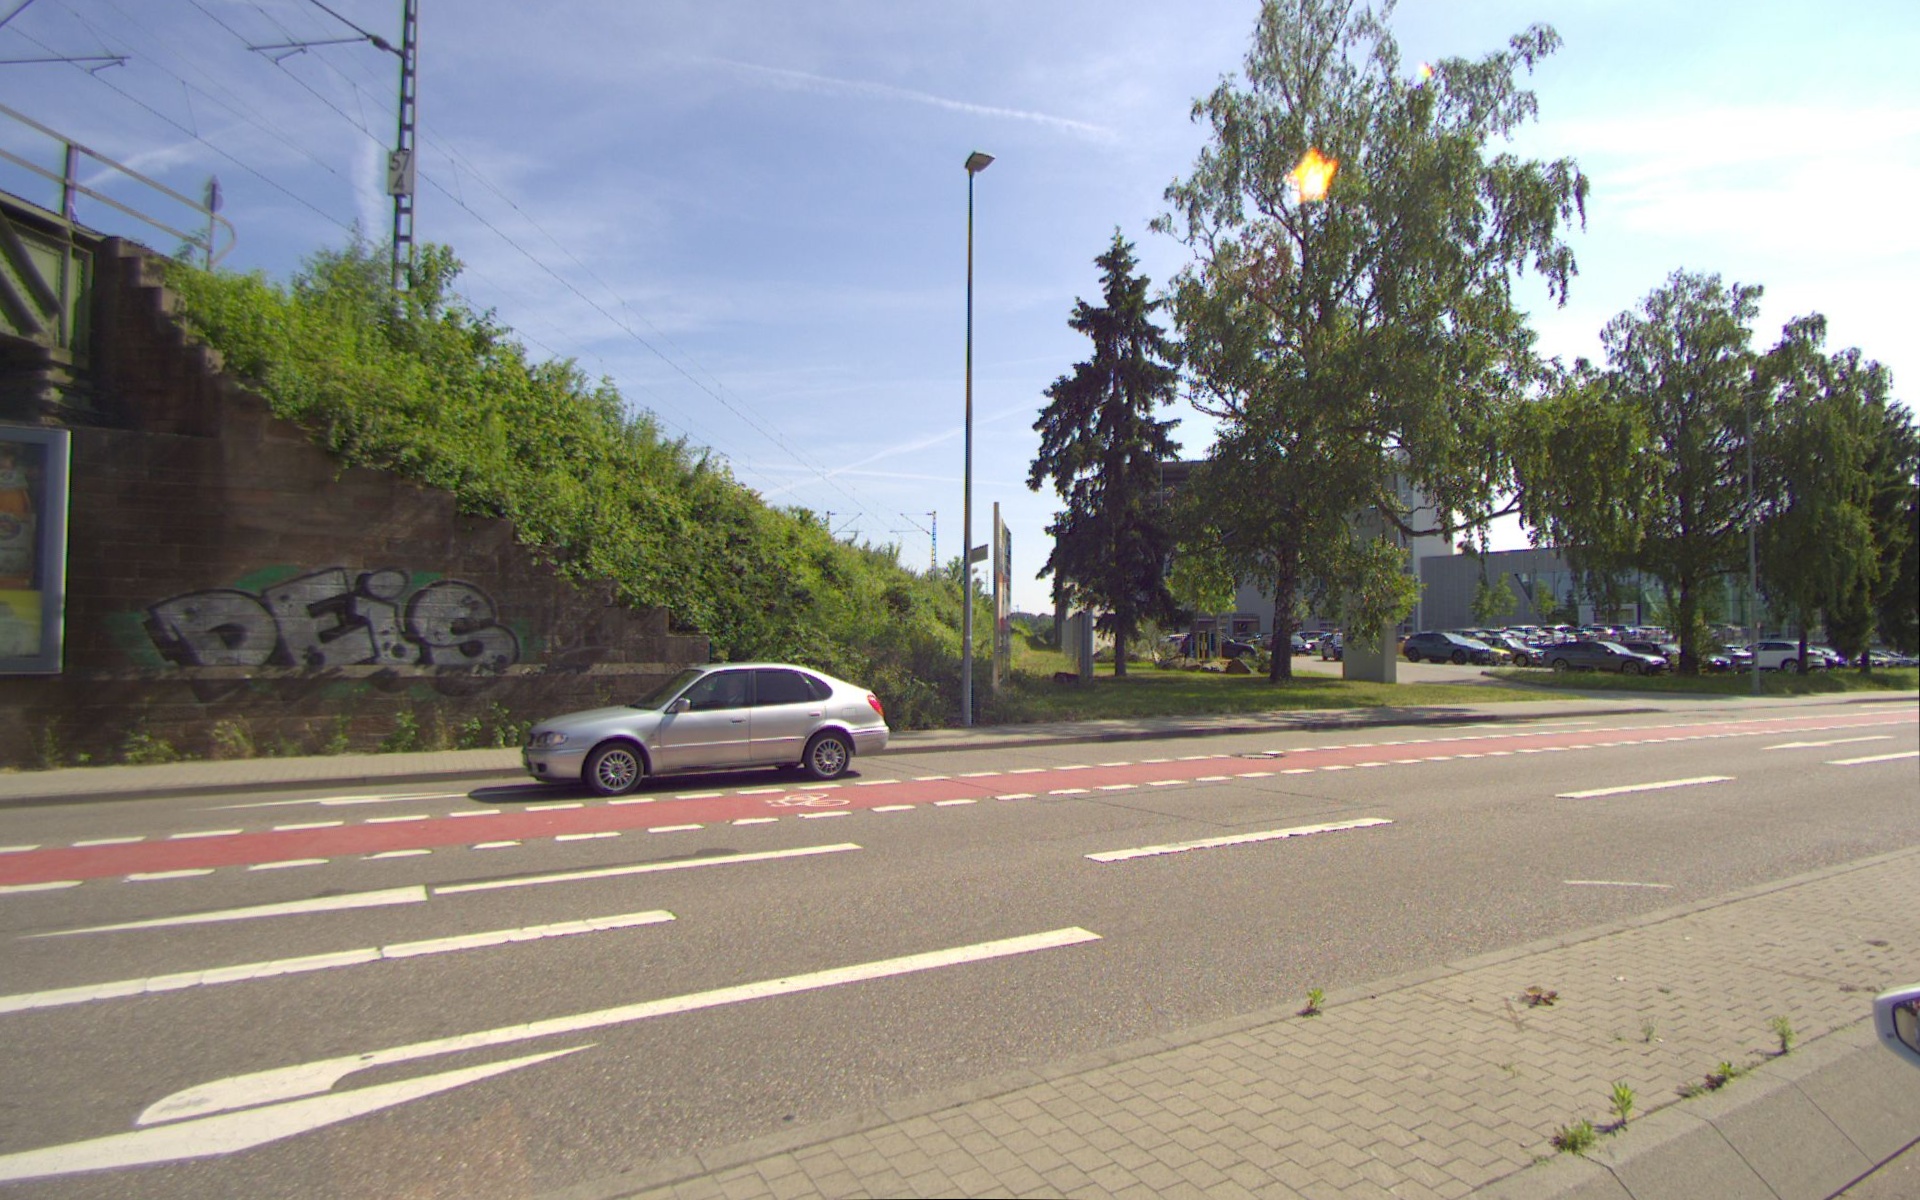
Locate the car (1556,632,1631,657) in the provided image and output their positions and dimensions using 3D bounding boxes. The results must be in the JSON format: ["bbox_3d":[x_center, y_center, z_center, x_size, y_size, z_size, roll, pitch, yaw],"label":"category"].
[{"bbox_3d":[45.435,3.200,72.102,1.646,1.727,4.246,2,-3,-32],"label":"car"}]

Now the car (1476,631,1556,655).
[{"bbox_3d":[38.009,2.930,68.808,1.870,1.437,4.475,2,-1,-32],"label":"car"}]

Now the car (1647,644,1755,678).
[{"bbox_3d":[34.255,2.783,46.512,1.795,1.389,3.663,2,-1,-30],"label":"car"}]

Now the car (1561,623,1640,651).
[{"bbox_3d":[47.075,2.738,73.908,1.958,1.988,4.476,2,-3,-32],"label":"car"}]

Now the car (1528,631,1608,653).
[{"bbox_3d":[42.889,2.952,70.984,1.958,1.504,4.476,2,-3,-32],"label":"car"}]

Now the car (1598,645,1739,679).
[{"bbox_3d":[31.886,2.743,45.362,1.977,1.285,4.828,2,-1,-30],"label":"car"}]

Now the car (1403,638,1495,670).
[{"bbox_3d":[26.725,2.909,55.022,1.785,1.585,4.220,2,-1,-31],"label":"car"}]

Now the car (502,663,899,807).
[{"bbox_3d":[-2.978,1.463,11.841,4.268,1.405,1.628,2,-4,-31],"label":"car"}]

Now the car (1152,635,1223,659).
[{"bbox_3d":[16.121,3.314,71.244,4.666,1.567,1.815,1,-1,2],"label":"car"}]

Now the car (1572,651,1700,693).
[{"bbox_3d":[29.281,3.080,43.648,1.977,1.567,4.194,2,-1,-30],"label":"car"}]

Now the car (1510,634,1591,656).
[{"bbox_3d":[40.827,3.098,69.525,1.958,1.504,4.476,2,-3,-32],"label":"car"}]

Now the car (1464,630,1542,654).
[{"bbox_3d":[36.255,2.791,67.134,1.979,1.496,4.178,2,-1,-33],"label":"car"}]

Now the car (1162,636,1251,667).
[{"bbox_3d":[14.202,2.980,58.000,4.666,1.639,2.001,1,-1,2],"label":"car"}]

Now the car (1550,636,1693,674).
[{"bbox_3d":[27.741,2.269,42.308,1.977,1.408,4.665,2,-1,-30],"label":"car"}]

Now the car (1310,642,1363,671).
[{"bbox_3d":[22.388,3.341,59.833,1.628,1.567,4.037,1,-1,0],"label":"car"}]

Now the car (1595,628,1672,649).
[{"bbox_3d":[51.184,2.951,76.449,1.958,1.504,4.476,2,-3,-32],"label":"car"}]

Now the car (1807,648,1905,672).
[{"bbox_3d":[51.948,3.507,58.308,1.820,1.357,3.868,2,-4,-32],"label":"car"}]

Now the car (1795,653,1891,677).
[{"bbox_3d":[50.033,3.686,56.979,1.645,1.302,3.723,2,-4,-32],"label":"car"}]

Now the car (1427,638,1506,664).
[{"bbox_3d":[32.862,3.295,65.306,1.979,1.496,4.178,2,-1,-33],"label":"car"}]

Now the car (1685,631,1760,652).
[{"bbox_3d":[62.147,3.370,81.934,1.963,1.515,4.498,2,-1,-30],"label":"car"}]

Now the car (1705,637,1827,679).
[{"bbox_3d":[40.724,2.908,50.847,1.976,1.900,4.444,2,-1,-29],"label":"car"}]

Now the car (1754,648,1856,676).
[{"bbox_3d":[44.423,3.236,52.872,1.725,1.302,3.771,2,-1,-32],"label":"car"}]

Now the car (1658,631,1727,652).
[{"bbox_3d":[57.626,3.226,79.067,2.028,1.515,3.968,2,-1,-30],"label":"car"}]

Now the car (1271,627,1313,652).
[{"bbox_3d":[24.045,2.860,72.884,1.734,1.725,4.001,1,-1,1],"label":"car"}]

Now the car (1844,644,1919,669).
[{"bbox_3d":[58.042,3.479,62.282,1.958,1.495,4.476,2,-3,-32],"label":"car"}]

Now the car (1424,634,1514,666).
[{"bbox_3d":[28.482,2.773,56.308,1.785,1.585,4.220,2,-1,-31],"label":"car"}]

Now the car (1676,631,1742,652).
[{"bbox_3d":[60.049,3.304,80.605,1.648,1.515,3.968,2,-1,-30],"label":"car"}]

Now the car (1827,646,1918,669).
[{"bbox_3d":[54.079,3.446,59.570,1.844,1.302,3.576,2,-4,-32],"label":"car"}]

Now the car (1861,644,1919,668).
[{"bbox_3d":[60.550,3.578,63.921,1.898,1.495,4.476,2,-3,-32],"label":"car"}]

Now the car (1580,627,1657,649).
[{"bbox_3d":[49.367,2.854,75.378,1.958,1.571,4.476,2,-3,-32],"label":"car"}]

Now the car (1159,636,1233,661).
[{"bbox_3d":[15.978,3.283,68.154,4.666,1.567,1.815,1,-1,2],"label":"car"}]
